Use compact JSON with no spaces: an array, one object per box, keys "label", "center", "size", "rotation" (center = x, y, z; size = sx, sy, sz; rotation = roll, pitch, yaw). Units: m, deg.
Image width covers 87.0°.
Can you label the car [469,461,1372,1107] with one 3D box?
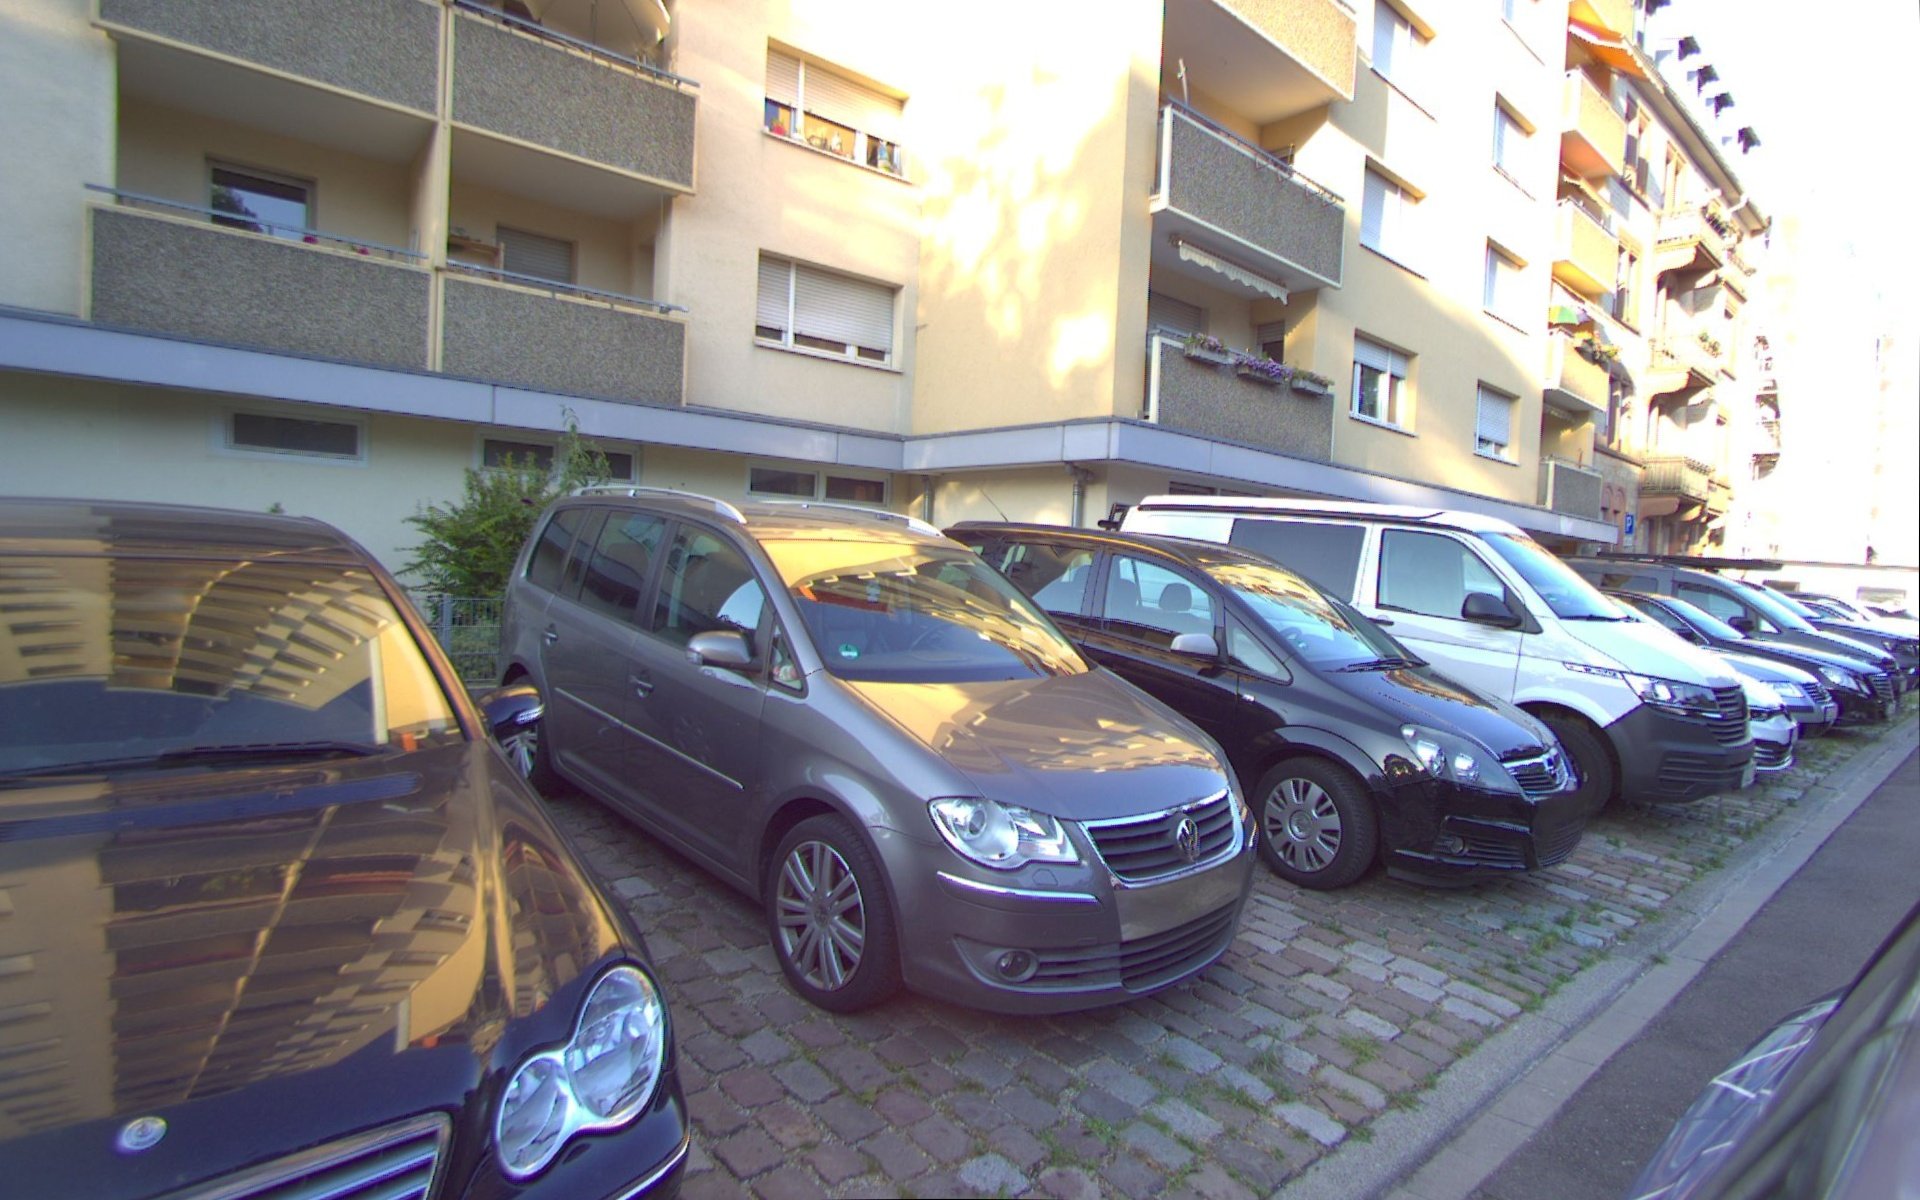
[{"label":"car","center":[-0.649,0.247,4.820],"size":[1.815,1.680,4.412],"rotation":[-2,7,-43]}]

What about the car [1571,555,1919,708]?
[{"label":"car","center":[12.355,0.375,15.692],"size":[1.814,1.885,4.522],"rotation":[1,4,-41]}]

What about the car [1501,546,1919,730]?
[{"label":"car","center":[10.509,0.339,14.297],"size":[1.814,2.004,4.647],"rotation":[-2,5,-41]}]

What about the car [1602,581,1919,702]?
[{"label":"car","center":[14.086,0.598,17.724],"size":[1.813,1.572,4.416],"rotation":[-1,5,-39]}]

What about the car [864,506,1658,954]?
[{"label":"car","center":[1.456,0.367,6.245],"size":[1.752,1.680,4.334],"rotation":[-2,7,-43]}]

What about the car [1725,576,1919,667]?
[{"label":"car","center":[20.941,0.461,23.733],"size":[1.812,1.769,4.417],"rotation":[-1,5,-38]}]

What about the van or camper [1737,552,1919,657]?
[{"label":"van or camper","center":[24.964,0.153,27.185],"size":[2.014,2.534,6.074],"rotation":[1,4,-41]}]

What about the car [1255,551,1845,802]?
[{"label":"car","center":[5.257,0.455,9.559],"size":[1.814,1.650,4.413],"rotation":[-2,5,-41]}]

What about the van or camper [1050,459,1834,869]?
[{"label":"van or camper","center":[3.372,0.099,8.100],"size":[2.006,2.192,5.144],"rotation":[0,6,-43]}]

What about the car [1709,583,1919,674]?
[{"label":"car","center":[19.181,0.577,21.905],"size":[1.813,1.572,4.415],"rotation":[-1,5,-40]}]

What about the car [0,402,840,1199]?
[{"label":"car","center":[-2.409,0.375,2.956],"size":[1.815,1.549,4.410],"rotation":[-2,6,-43]}]

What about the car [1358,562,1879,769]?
[{"label":"car","center":[6.941,0.488,11.104],"size":[1.814,1.611,4.413],"rotation":[-2,5,-41]}]

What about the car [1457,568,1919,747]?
[{"label":"car","center":[8.798,0.510,12.456],"size":[1.814,1.581,4.413],"rotation":[-2,5,-41]}]

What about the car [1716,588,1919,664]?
[{"label":"car","center":[22.322,0.596,25.933],"size":[1.813,1.638,4.414],"rotation":[-2,3,-40]}]
